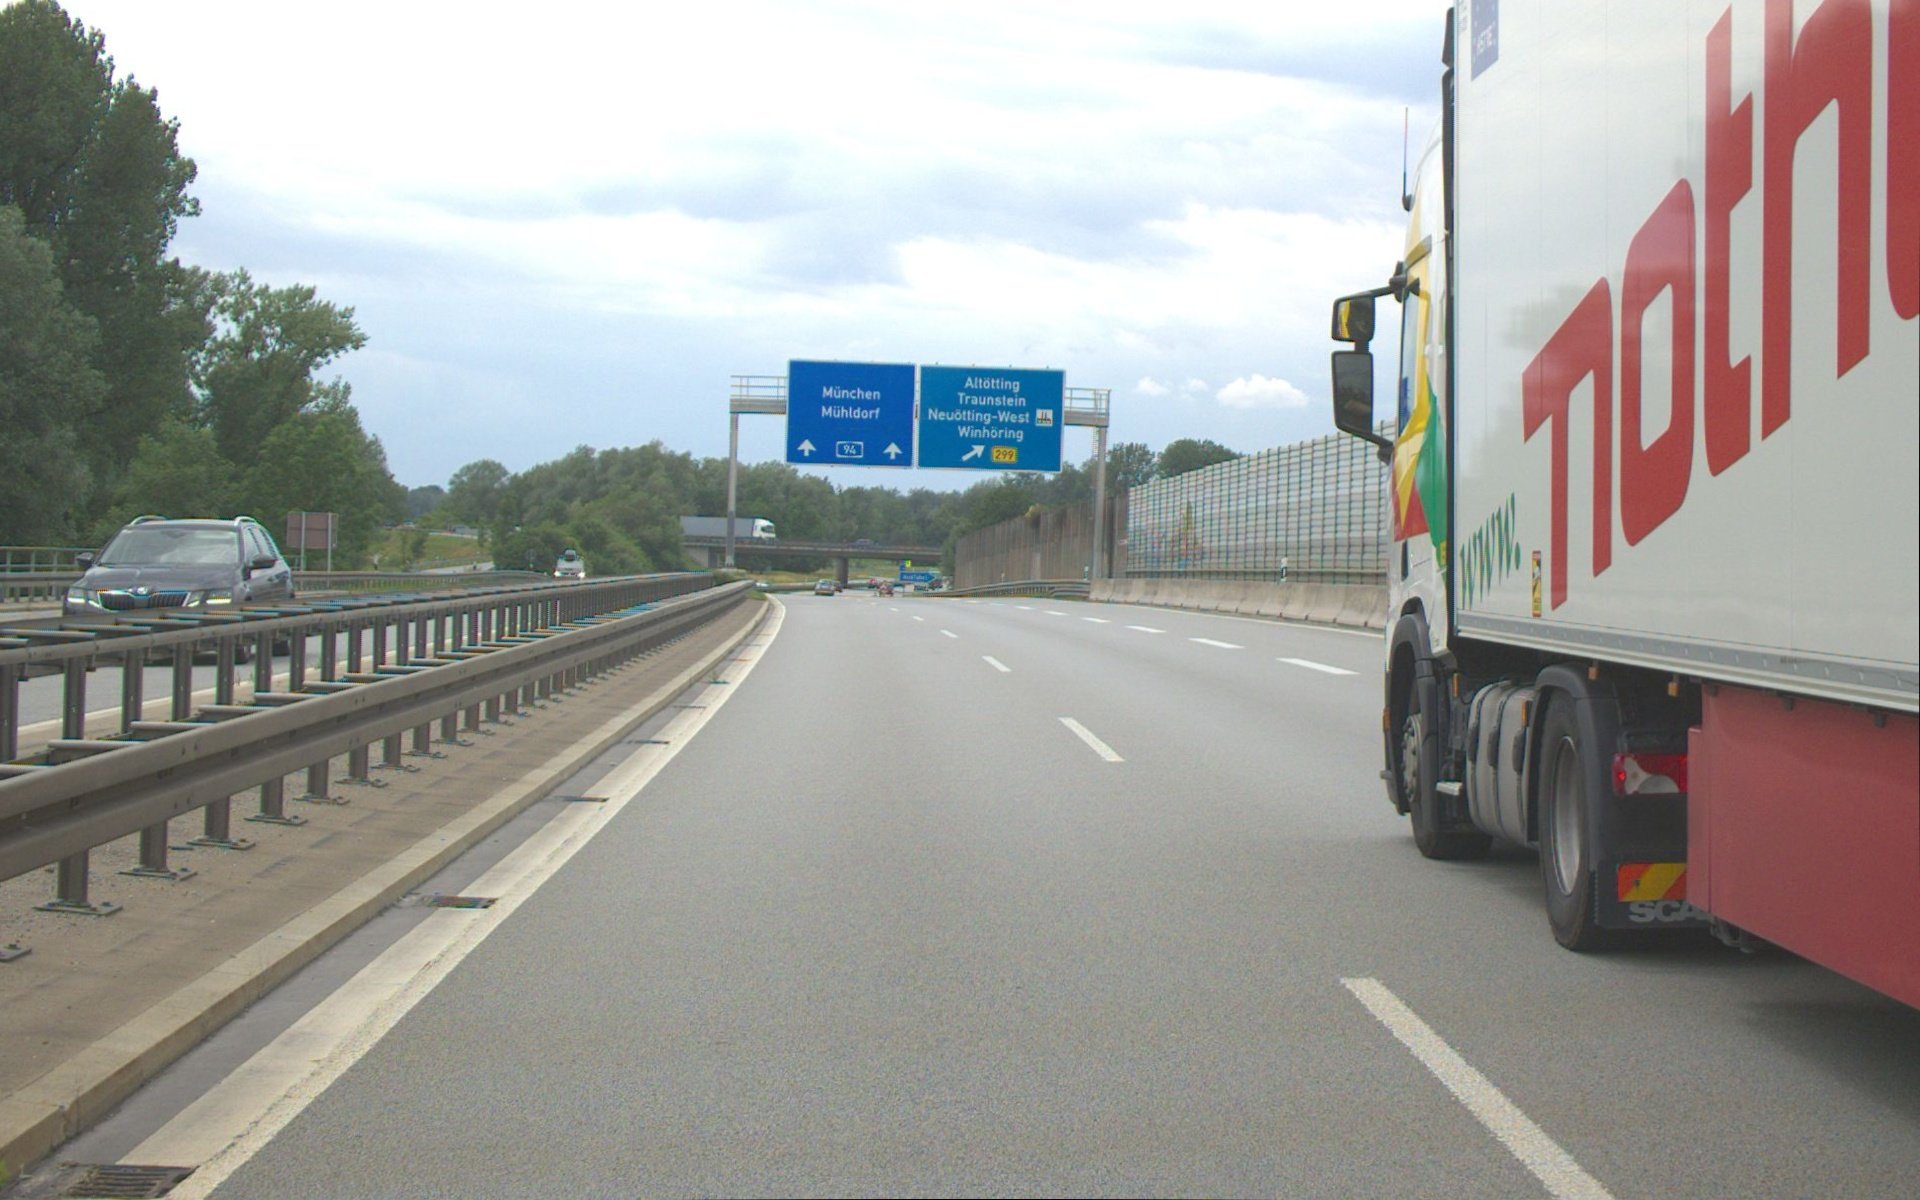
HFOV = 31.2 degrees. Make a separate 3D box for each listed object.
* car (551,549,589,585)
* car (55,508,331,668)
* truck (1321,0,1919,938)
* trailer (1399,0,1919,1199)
[{"bbox_3d":[-22.434,-1.909,197.808,1.993,1.996,4.744,1,0,-4],"label":"car"},{"bbox_3d":[-7.796,-0.162,35.371,1.841,1.525,4.836,0,1,-1],"label":"car"},{"bbox_3d":[3.378,-0.767,15.590,2.756,3.946,5.678,0,1,-1],"label":"truck"},{"bbox_3d":[3.514,-0.716,8.350,2.792,4.160,14.105,0,1,-1],"label":"trailer"}]
